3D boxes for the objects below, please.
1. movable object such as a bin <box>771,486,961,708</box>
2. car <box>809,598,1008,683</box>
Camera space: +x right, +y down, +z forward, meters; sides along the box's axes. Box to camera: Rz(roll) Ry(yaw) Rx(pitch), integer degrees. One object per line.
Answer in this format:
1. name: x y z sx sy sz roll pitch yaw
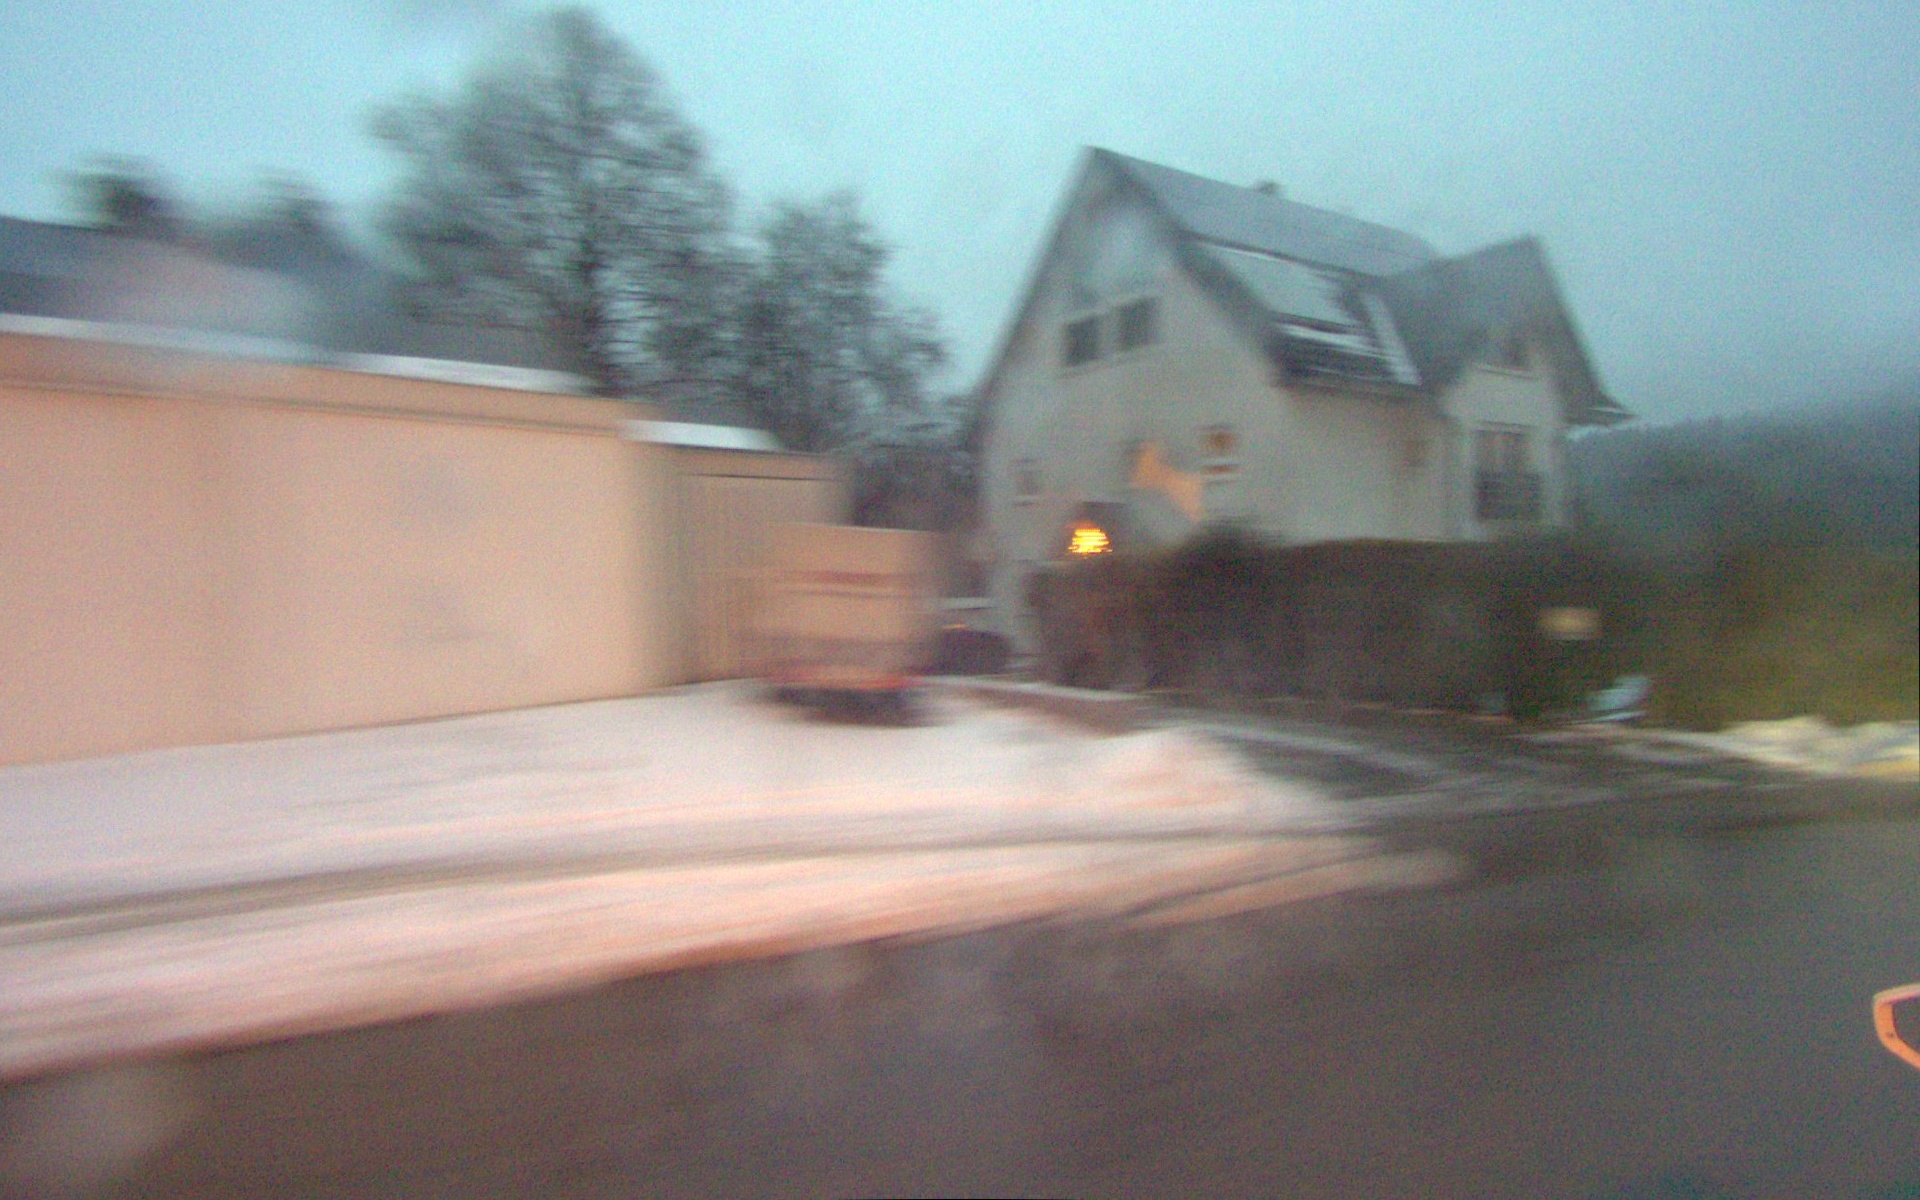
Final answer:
1. movable object such as a bin: -0.879 -0.100 8.939 1.415 1.671 2.367 2 4 -8
2. car: -1.086 0.792 21.681 3.956 1.484 1.787 -2 4 -33
